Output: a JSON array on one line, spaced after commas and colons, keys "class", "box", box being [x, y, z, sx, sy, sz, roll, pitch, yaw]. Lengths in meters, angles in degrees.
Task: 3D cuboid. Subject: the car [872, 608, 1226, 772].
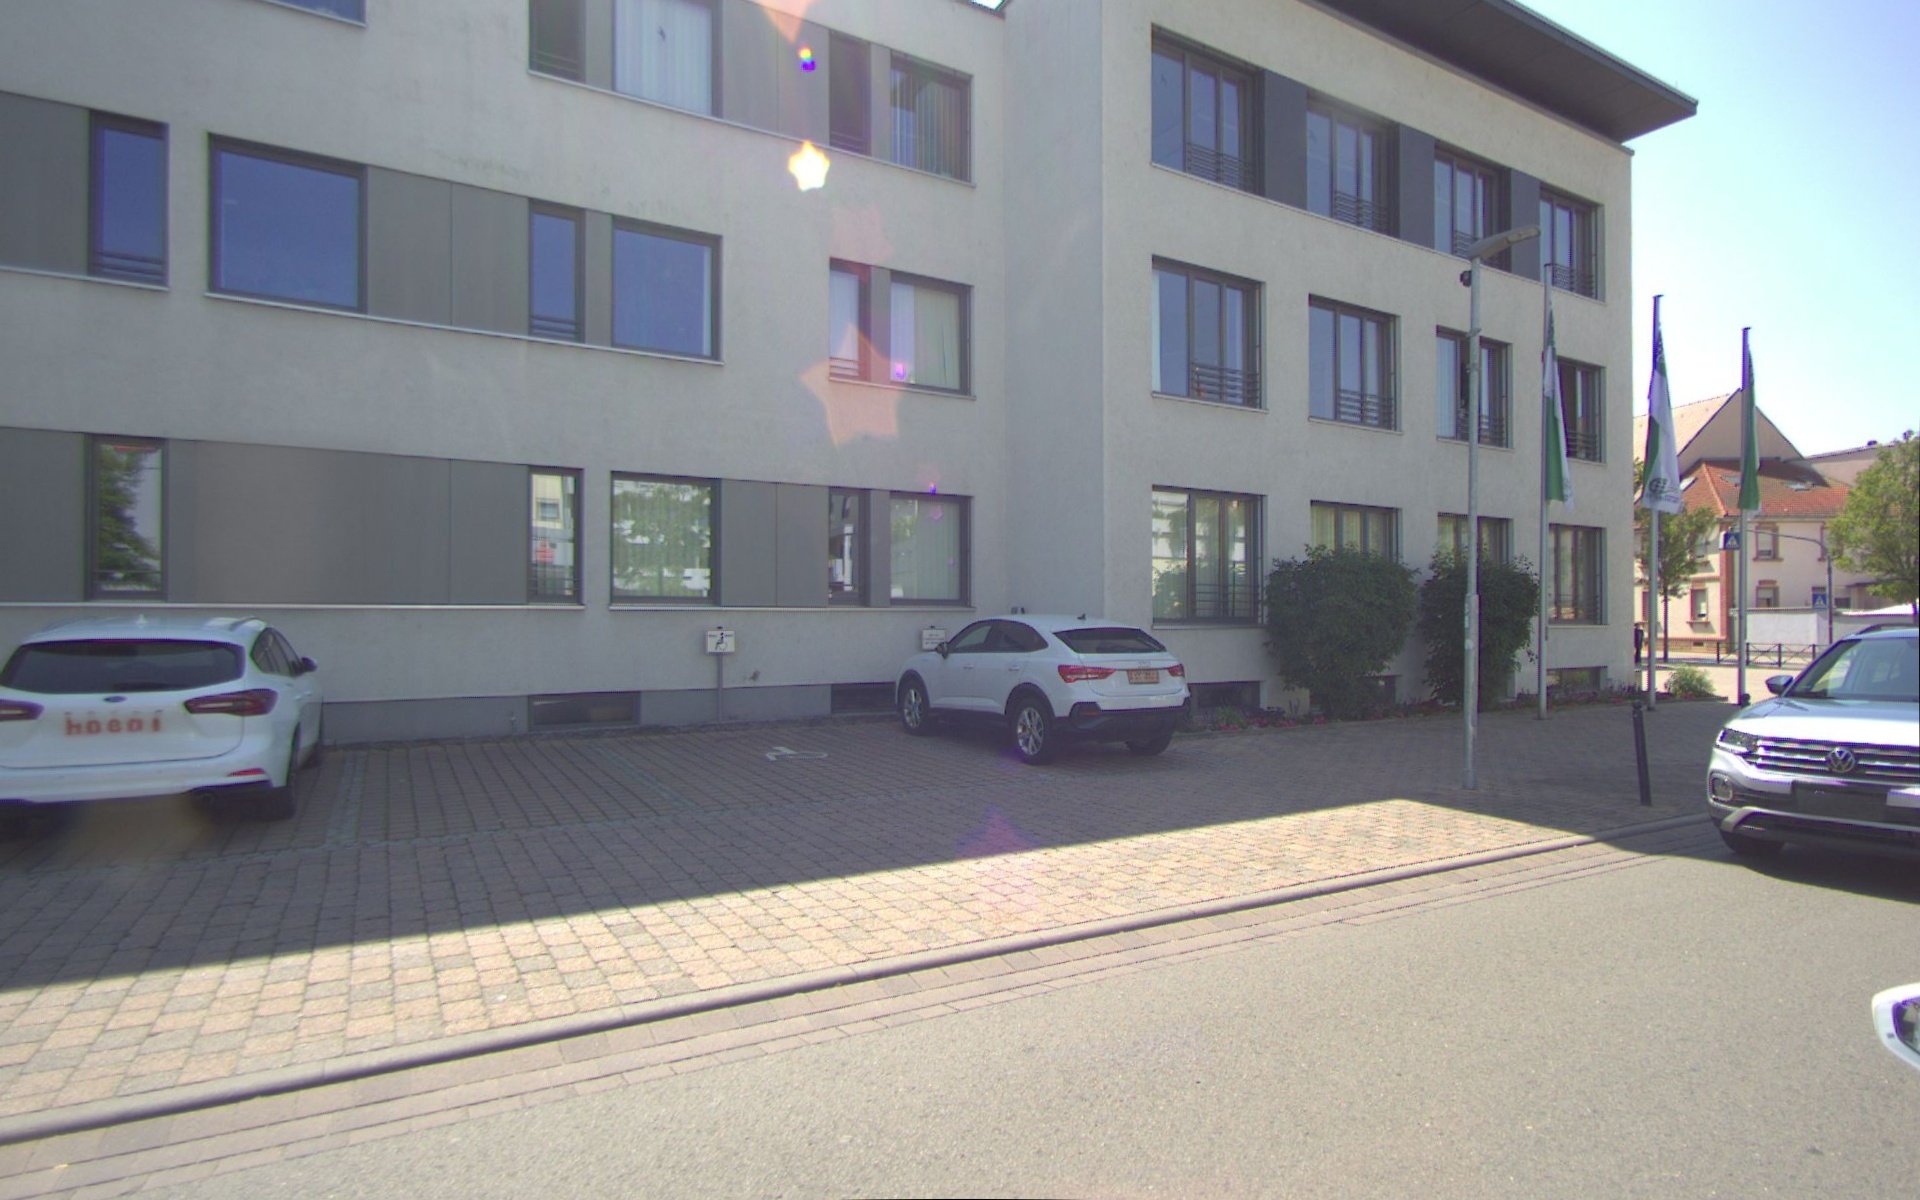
[{"class": "car", "box": [0.849, 0.909, 12.288, 2.123, 1.575, 4.484, 1, -1, -31]}]

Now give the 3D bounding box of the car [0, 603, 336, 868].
[{"class": "car", "box": [-6.357, 0.847, 8.188, 1.912, 1.574, 4.484, 2, -2, -29]}]

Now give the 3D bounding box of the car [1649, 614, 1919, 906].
[{"class": "car", "box": [6.752, 0.906, 6.872, 3.952, 1.594, 1.843, 1, -2, -30]}]

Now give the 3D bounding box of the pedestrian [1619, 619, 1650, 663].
[{"class": "pedestrian", "box": [26.009, 1.582, 38.727, 0.798, 1.676, 0.851, 0, -1, 20]}]
